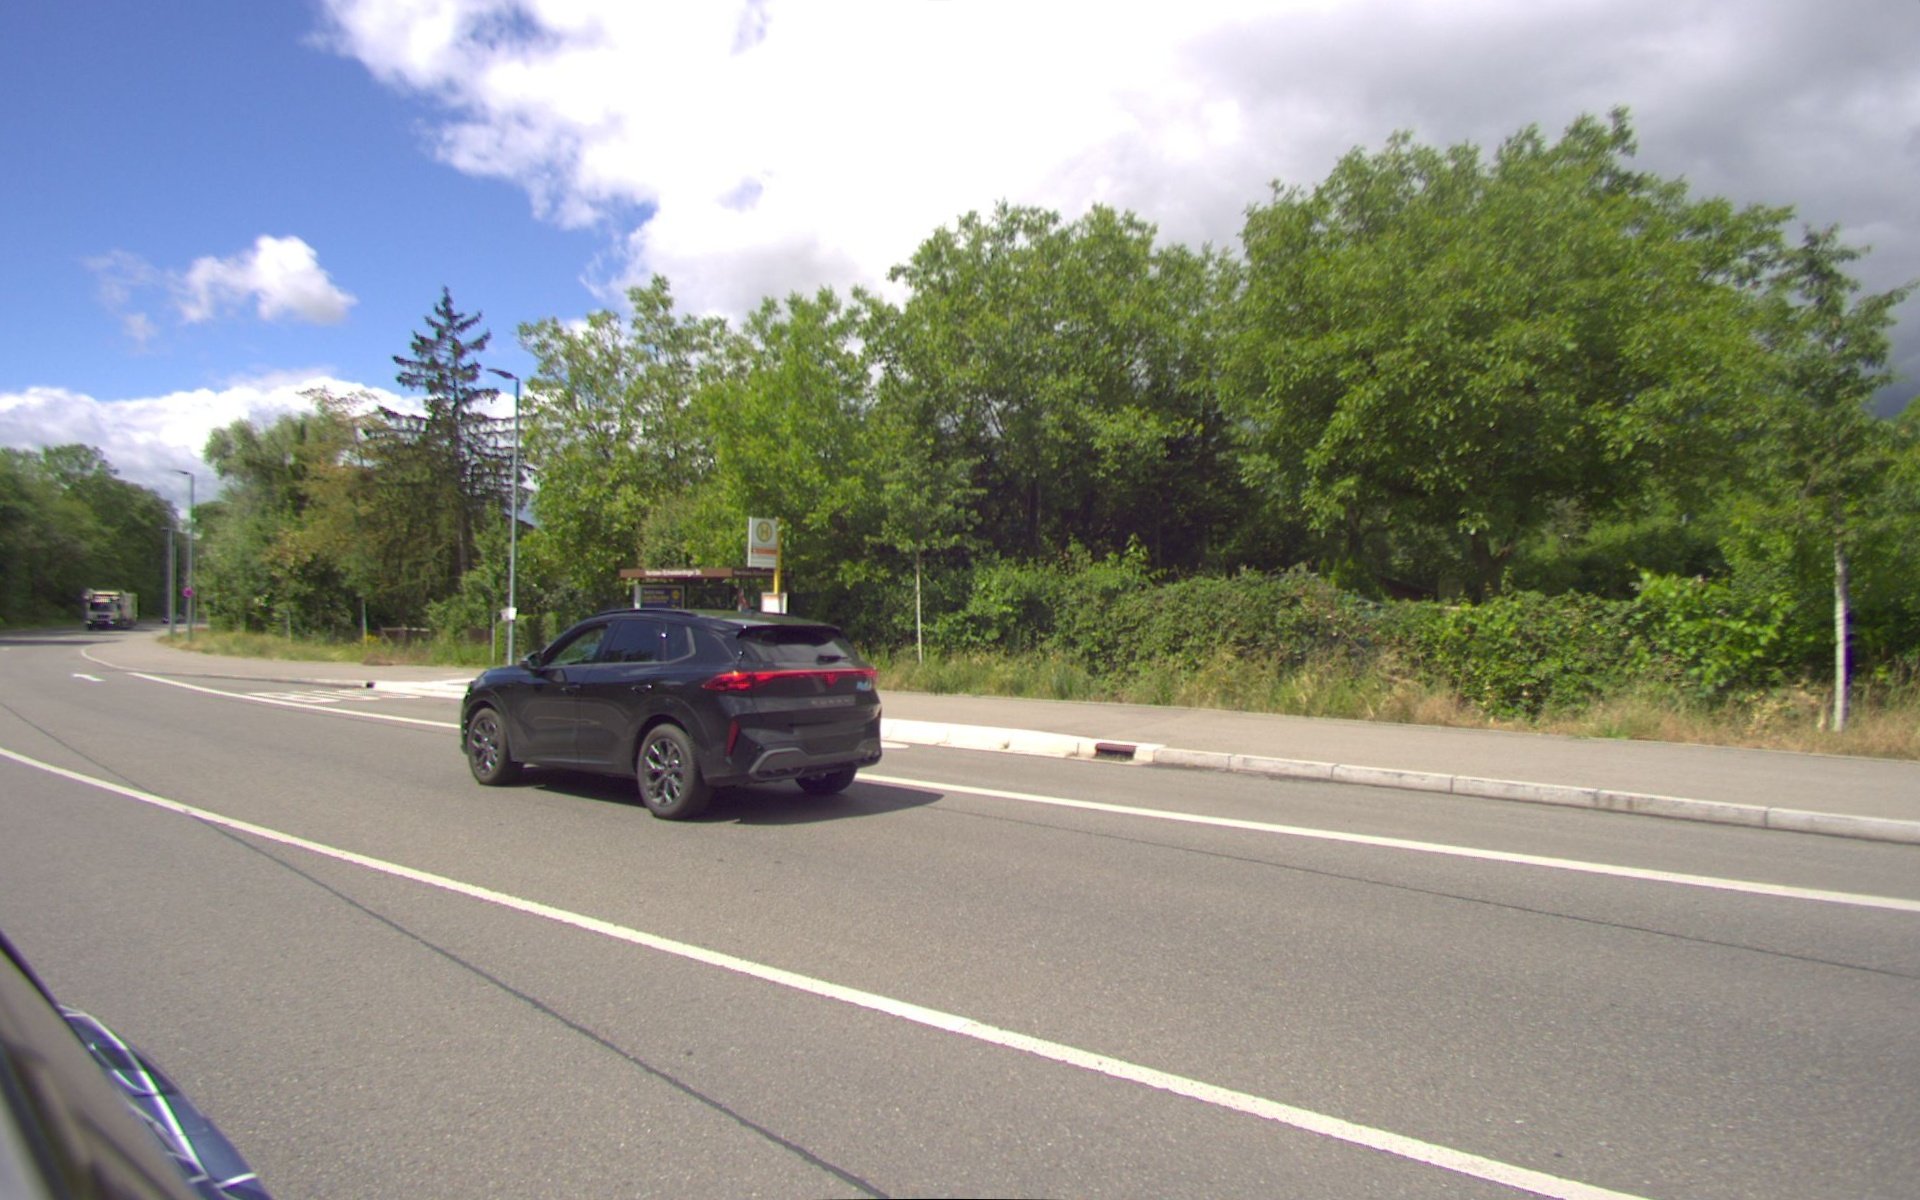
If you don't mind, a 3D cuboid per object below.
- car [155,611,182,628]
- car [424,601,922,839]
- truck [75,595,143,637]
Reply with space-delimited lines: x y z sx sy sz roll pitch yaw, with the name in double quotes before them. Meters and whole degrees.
"car" -99.825 2.432 127.697 1.965 2.029 4.013 2 -2 -28
"car" -2.666 0.875 8.823 4.622 1.569 1.805 -2 -3 38
"truck" -84.918 1.599 101.187 3.187 3.890 9.904 2 -2 -29
